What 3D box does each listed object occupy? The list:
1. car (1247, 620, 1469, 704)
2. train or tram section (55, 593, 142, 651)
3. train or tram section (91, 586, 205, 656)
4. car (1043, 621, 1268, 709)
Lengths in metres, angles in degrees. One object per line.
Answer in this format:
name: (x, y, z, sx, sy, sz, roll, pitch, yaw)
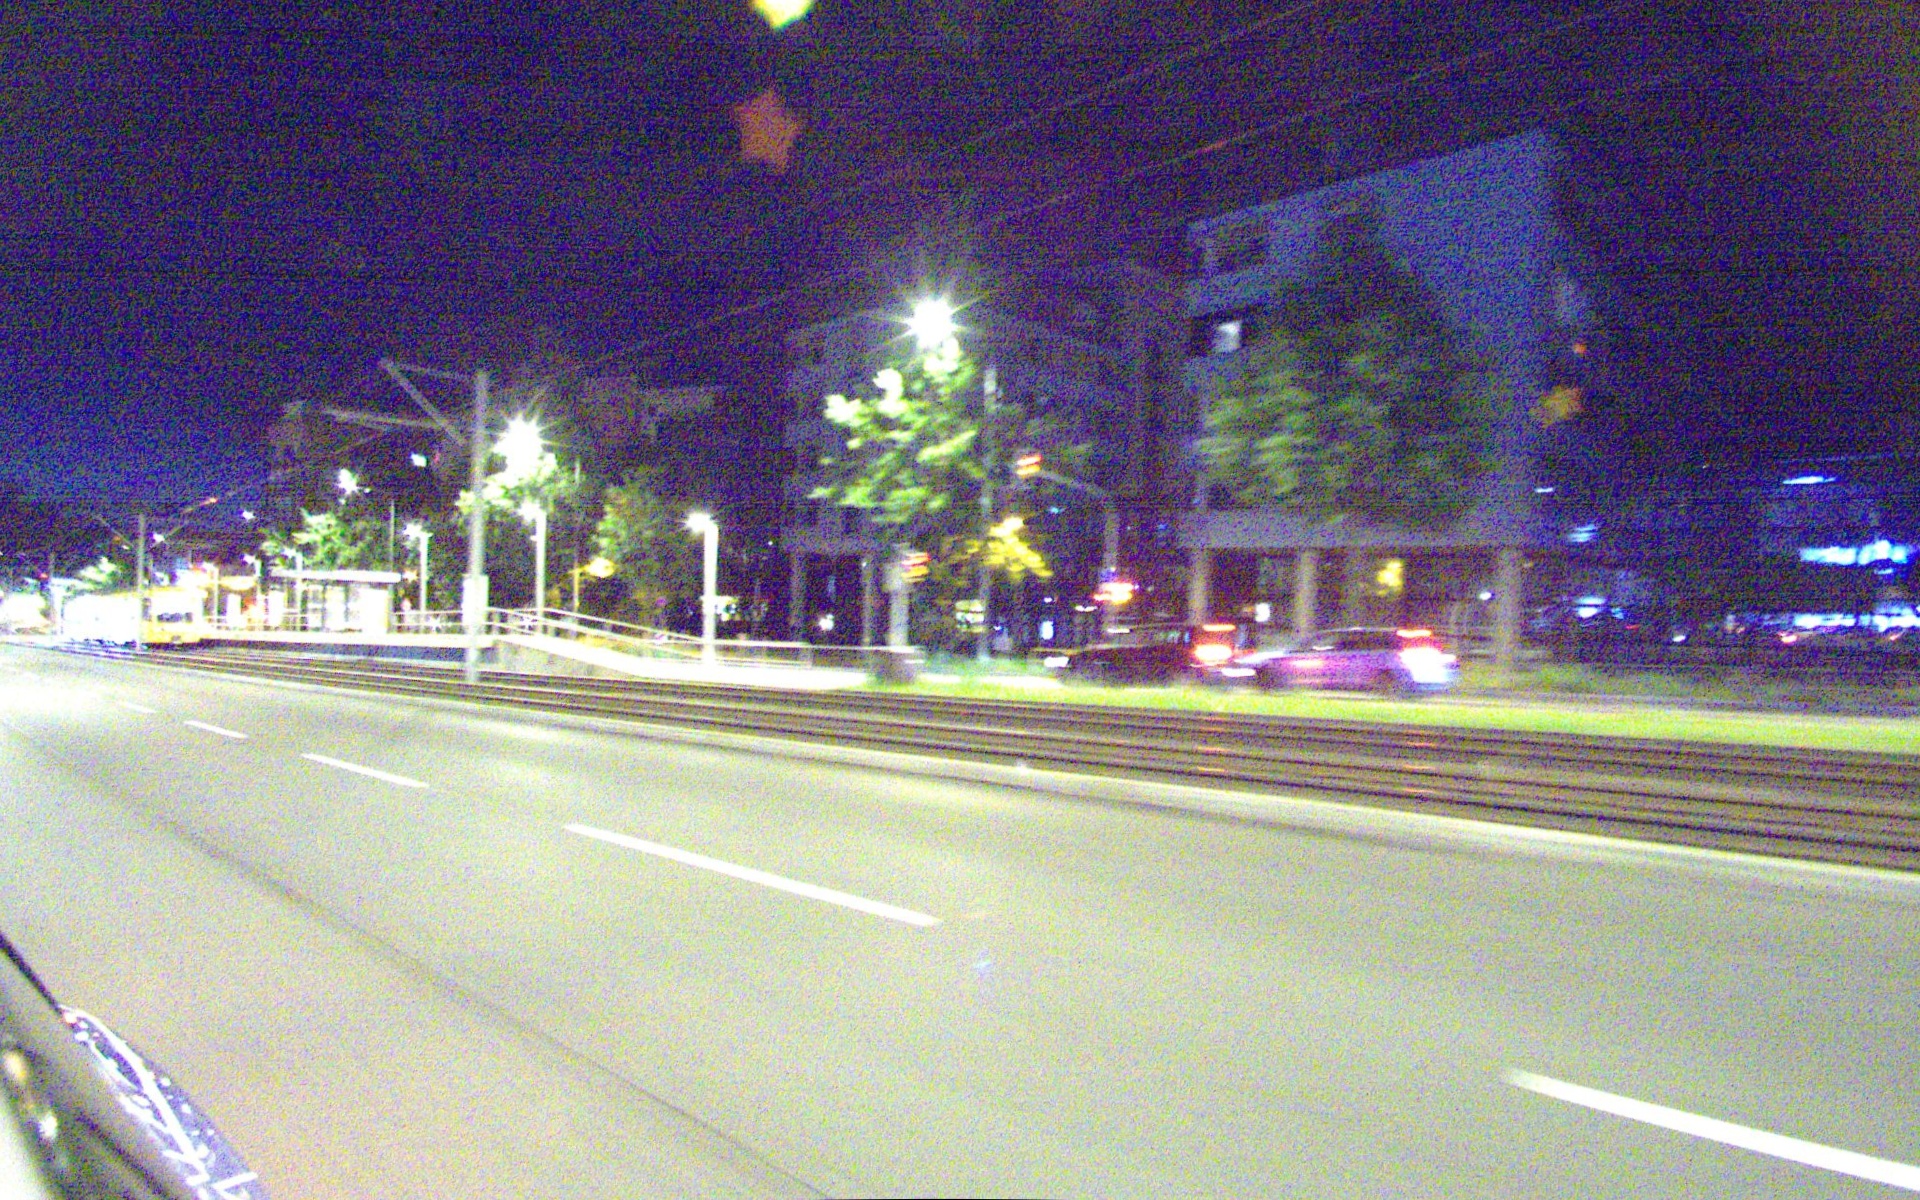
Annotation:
car: (8.073, 1.195, 20.722, 3.910, 1.528, 1.642, -1, -1, 43)
train or tram section: (-64.611, 1.654, 75.648, 19.362, 3.875, 2.708, -1, -1, 43)
train or tram section: (-50.662, 1.310, 62.766, 18.667, 3.856, 2.729, -1, -1, 43)
car: (3.886, 1.237, 20.512, 4.172, 1.508, 1.766, 0, 0, 41)
